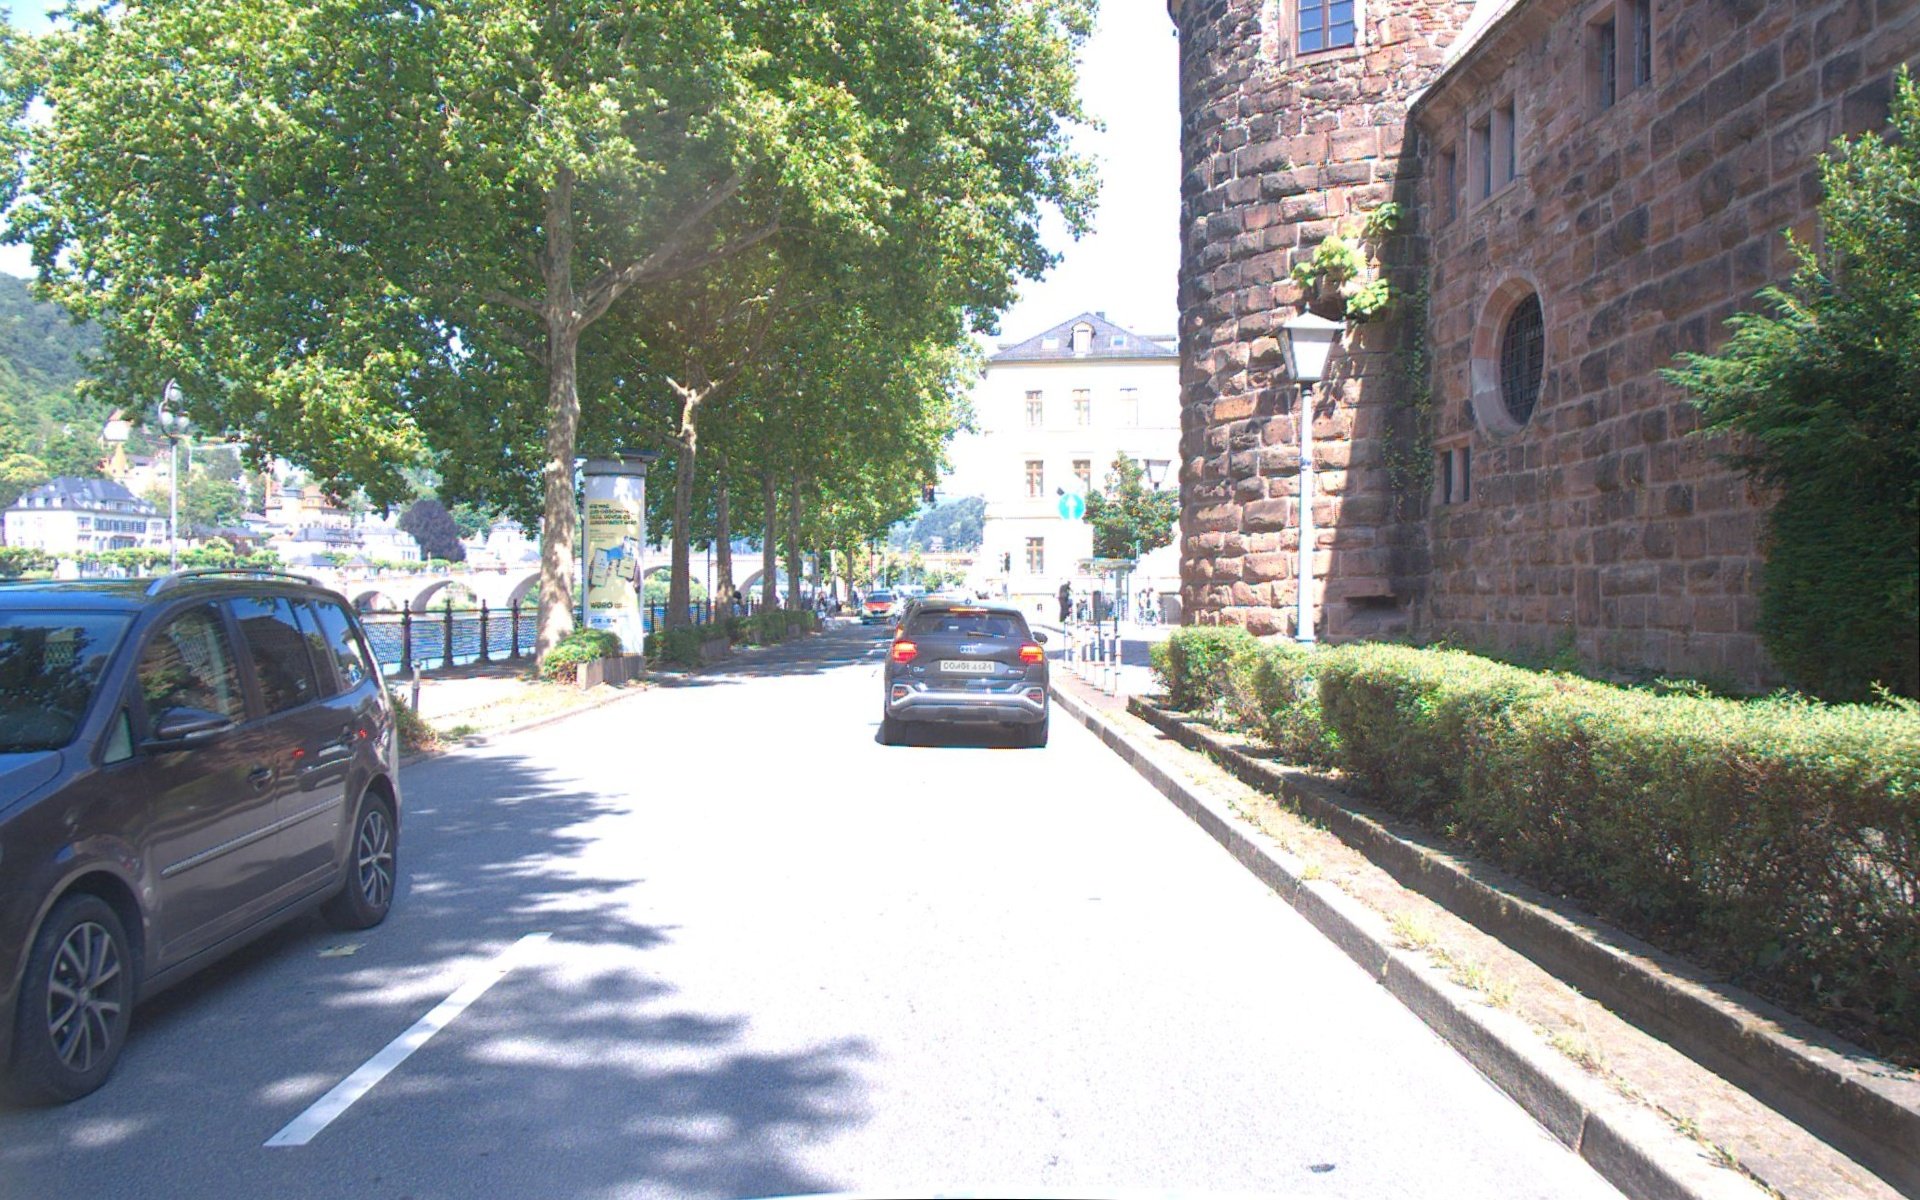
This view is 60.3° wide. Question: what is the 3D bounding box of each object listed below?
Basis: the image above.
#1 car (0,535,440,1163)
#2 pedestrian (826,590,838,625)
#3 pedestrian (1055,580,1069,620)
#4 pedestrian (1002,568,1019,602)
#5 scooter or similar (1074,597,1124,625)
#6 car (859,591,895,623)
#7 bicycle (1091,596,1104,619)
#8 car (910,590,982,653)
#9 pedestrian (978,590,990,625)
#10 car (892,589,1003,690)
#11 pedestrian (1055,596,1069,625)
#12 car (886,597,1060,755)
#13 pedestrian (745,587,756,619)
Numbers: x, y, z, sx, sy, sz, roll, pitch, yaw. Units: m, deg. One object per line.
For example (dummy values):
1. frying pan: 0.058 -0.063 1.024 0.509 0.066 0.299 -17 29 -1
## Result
1. car: -3.453 0.674 6.186 1.727 1.676 4.089 -1 0 -1
2. pedestrian: -6.084 0.340 78.725 0.507 1.666 0.438 -1 0 -8
3. pedestrian: 4.306 -0.013 69.822 0.545 1.661 0.660 1 0 0
4. pedestrian: 2.356 -0.709 77.679 0.731 1.585 0.588 1 0 0
5. scooter or similar: 5.226 0.410 62.379 1.808 0.980 0.429 2 0 -1
6. car: -4.241 0.339 85.098 1.581 1.549 3.477 -1 0 1
7. bicycle: 6.064 0.338 73.004 0.441 0.992 1.399 2 0 0
8. car: -0.355 0.514 42.599 1.764 1.549 3.715 0 0 0
9. pedestrian: 1.100 0.332 76.350 0.545 1.585 0.660 1 0 0
10. car: -0.208 0.634 28.505 1.764 1.590 3.715 -1 0 0
11. pedestrian: 4.380 0.467 71.067 0.535 1.222 0.522 2 0 0
12. car: 0.083 0.763 18.444 1.713 1.520 3.628 2 0 -2
13. pedestrian: -10.446 0.137 82.469 0.488 1.564 0.678 -1 0 -8
